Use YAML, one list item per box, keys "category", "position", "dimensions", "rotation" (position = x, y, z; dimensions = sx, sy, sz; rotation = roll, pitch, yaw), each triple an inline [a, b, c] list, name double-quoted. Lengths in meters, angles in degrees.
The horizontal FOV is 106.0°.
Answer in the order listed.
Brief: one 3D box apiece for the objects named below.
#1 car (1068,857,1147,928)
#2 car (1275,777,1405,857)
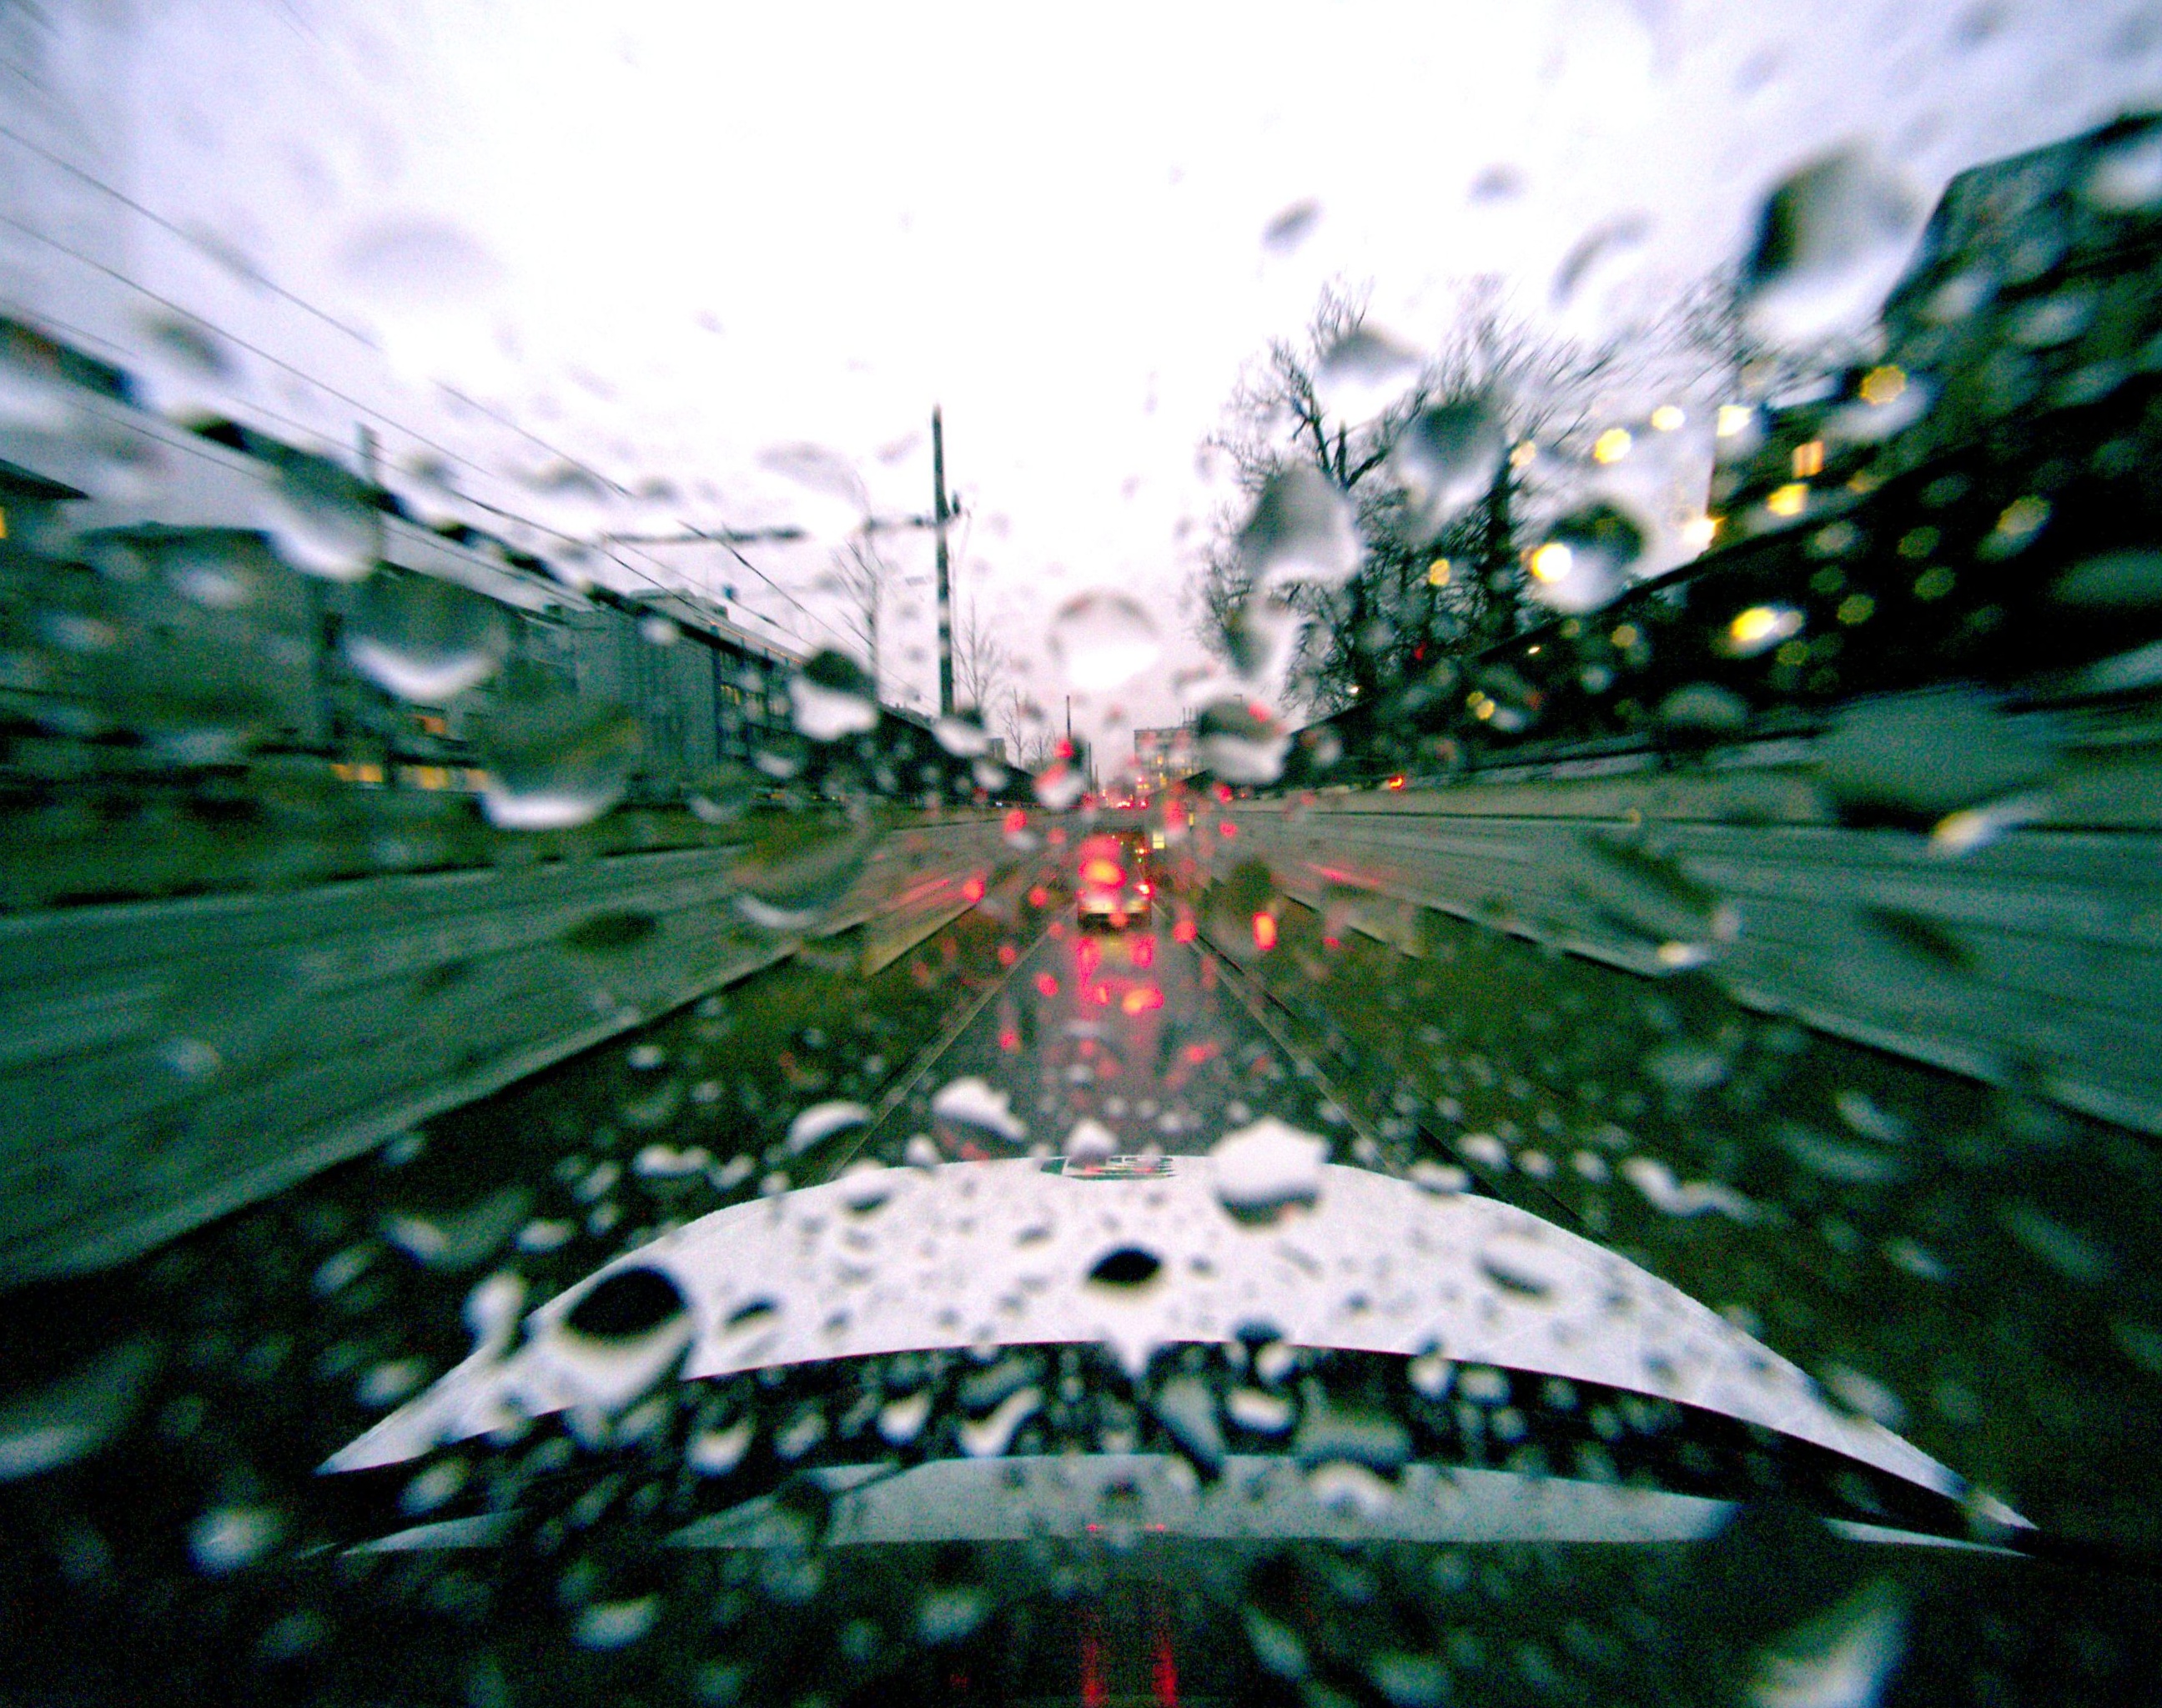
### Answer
- category: "car"
  position: [0.734, 0.851, 19.893]
  dimensions: [1.714, 1.479, 4.005]
  rotation: [0, 1, 4]
- category: "car"
  position: [5.283, -0.779, 17.139]
  dimensions: [1.714, 1.479, 4.006]
  rotation: [0, 2, 4]
